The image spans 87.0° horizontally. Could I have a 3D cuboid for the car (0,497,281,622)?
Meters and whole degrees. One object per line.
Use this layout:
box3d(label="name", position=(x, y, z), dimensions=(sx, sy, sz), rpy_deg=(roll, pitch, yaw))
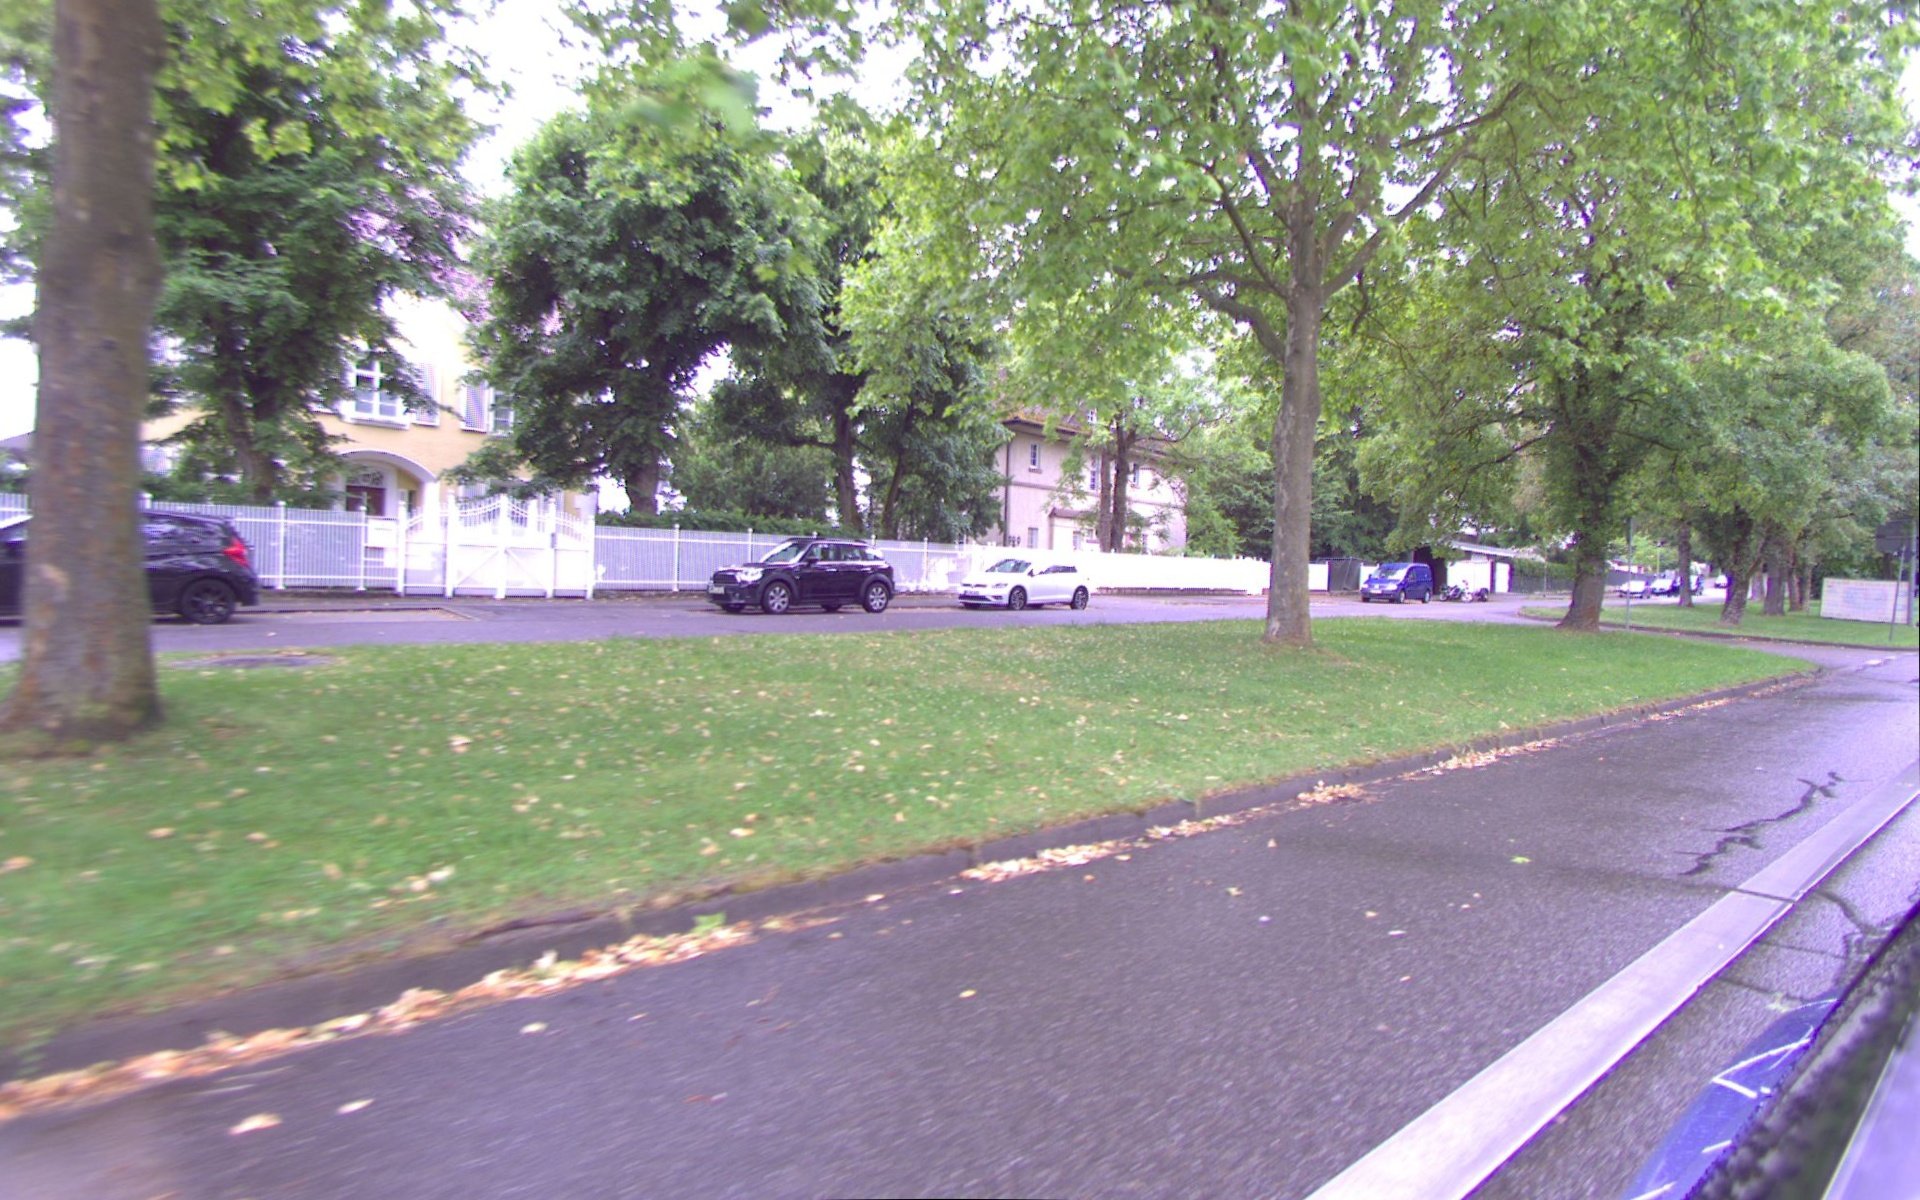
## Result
box3d(label="car", position=(-11.582, -0.490, 13.196), dimensions=(1.760, 1.489, 4.288), rpy_deg=(-1, 0, 44))

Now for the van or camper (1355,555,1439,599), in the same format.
box3d(label="van or camper", position=(19.607, -1.017, 45.296), dimensions=(1.993, 1.831, 4.702), rpy_deg=(0, 1, 43))

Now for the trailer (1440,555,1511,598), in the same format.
box3d(label="trailer", position=(26.639, -1.204, 52.191), dimensions=(5.109, 2.143, 1.767), rpy_deg=(-1, 1, -45))

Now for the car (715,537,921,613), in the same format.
box3d(label="car", position=(-2.995, -0.520, 21.866), dimensions=(1.994, 1.489, 4.059), rpy_deg=(1, 1, 44))

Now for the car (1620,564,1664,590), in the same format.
box3d(label="car", position=(55.260, -1.842, 81.990), dimensions=(3.932, 2.038, 1.997), rpy_deg=(-1, 3, -43))

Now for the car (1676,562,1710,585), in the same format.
box3d(label="car", position=(71.757, -2.603, 99.019), dimensions=(3.934, 2.038, 1.996), rpy_deg=(0, 3, -44))

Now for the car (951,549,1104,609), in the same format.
box3d(label="car", position=(1.877, -0.558, 27.221), dimensions=(1.994, 1.467, 4.059), rpy_deg=(1, 1, 44))
